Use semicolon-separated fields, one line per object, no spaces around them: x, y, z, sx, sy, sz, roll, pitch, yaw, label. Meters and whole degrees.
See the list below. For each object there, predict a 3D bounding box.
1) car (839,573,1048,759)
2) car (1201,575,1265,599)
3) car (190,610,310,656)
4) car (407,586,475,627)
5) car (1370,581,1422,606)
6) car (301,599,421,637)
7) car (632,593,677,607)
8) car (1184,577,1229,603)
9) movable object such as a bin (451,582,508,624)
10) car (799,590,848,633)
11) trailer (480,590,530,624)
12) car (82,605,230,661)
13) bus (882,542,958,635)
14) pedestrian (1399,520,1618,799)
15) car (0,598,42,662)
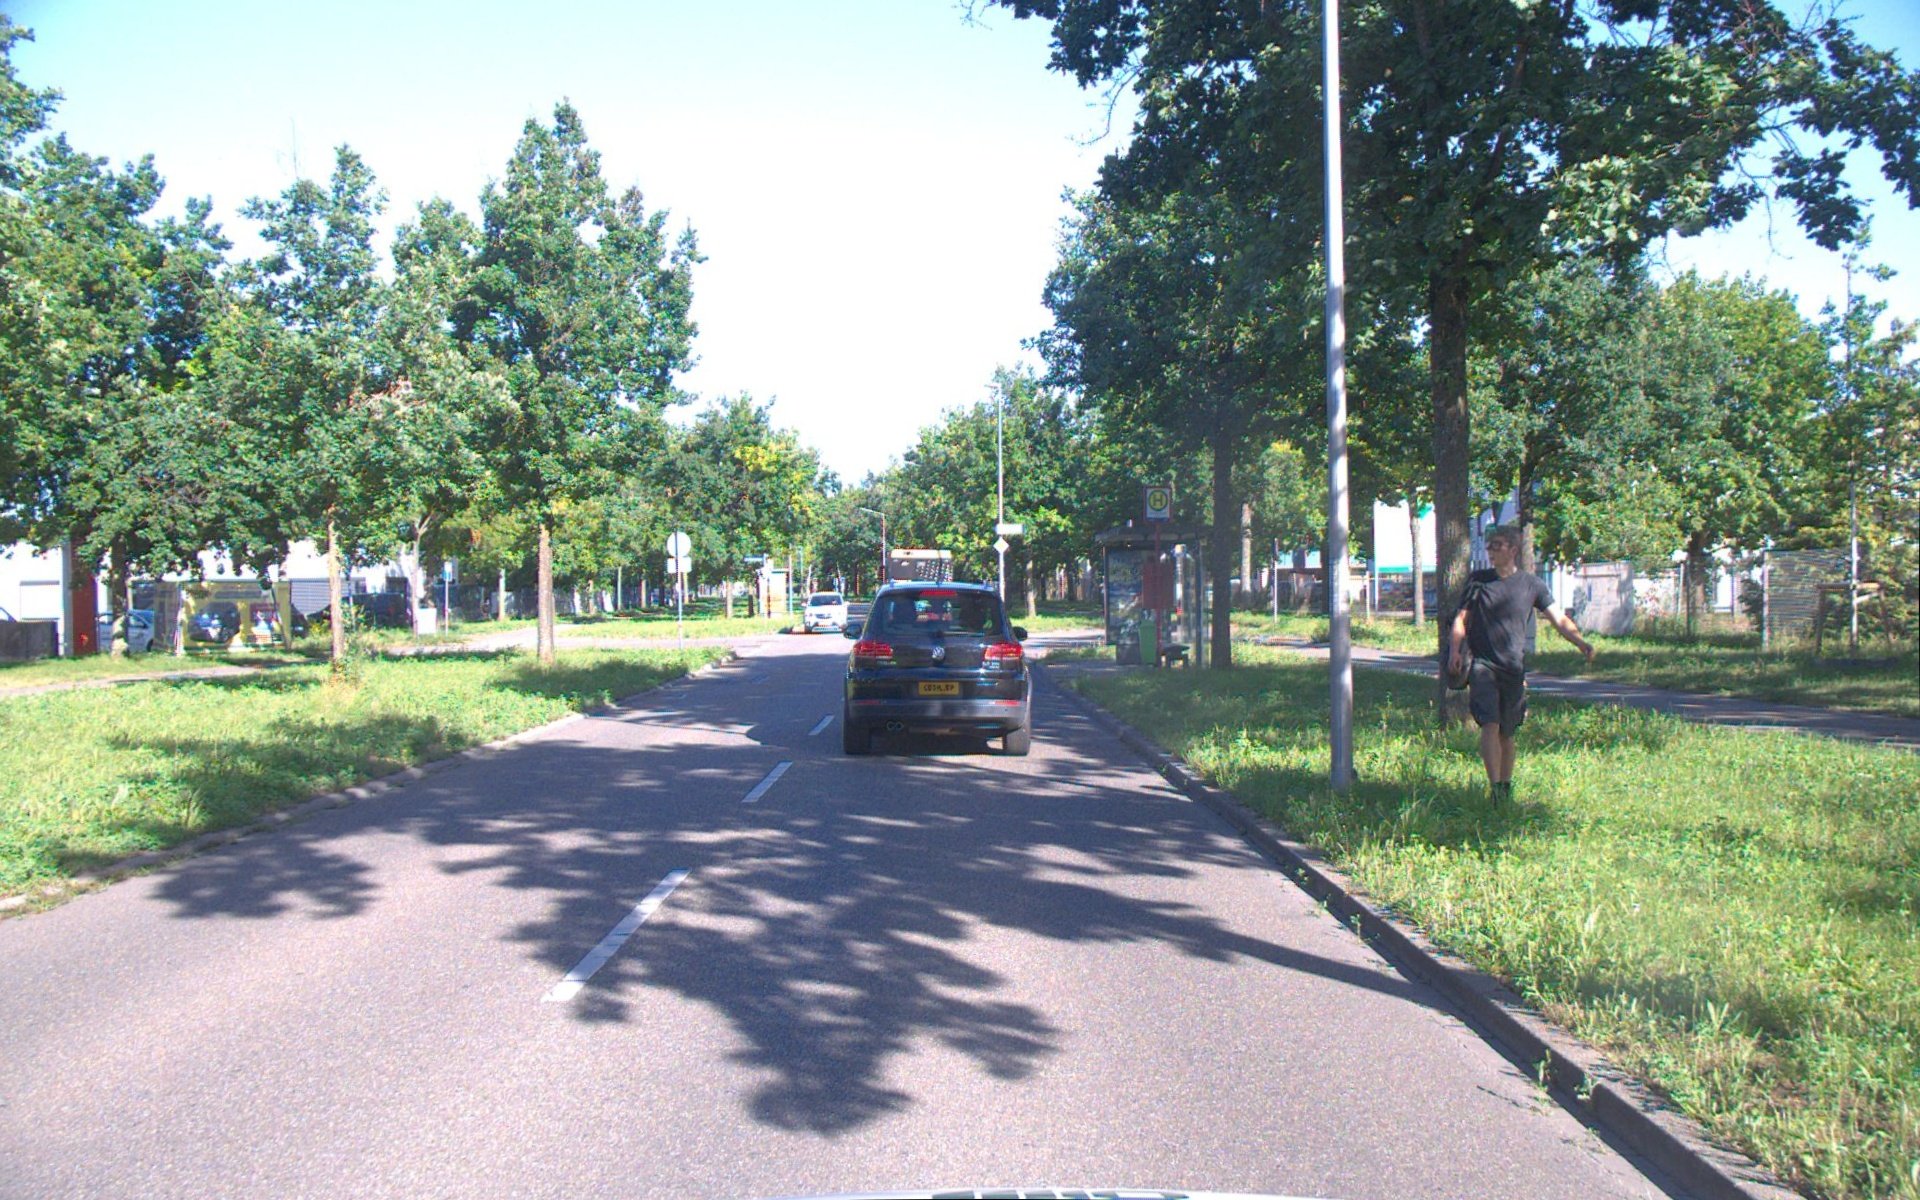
-0.174;0.576;17.276;1.896;1.685;4.426;1;1;-1;car
21.697;-1.049;131.662;4.543;1.774;2.186;-1;0;-10;car
-25.808;1.191;60.172;3.591;1.559;1.824;-1;0;13;car
-27.086;0.307;86.534;1.995;2.023;5.802;-1;0;-4;car
25.442;-0.415;96.694;1.731;1.408;3.763;-1;1;-6;car
-25.571;0.768;70.722;4.411;1.505;1.940;-1;0;-4;car
-30.830;-0.033;166.965;4.112;1.344;1.941;-1;0;1;car
17.535;-0.734;117.808;2.142;1.774;4.636;-1;1;-6;car
-26.933;0.160;92.845;2.060;2.255;4.458;-1;0;-2;movable object such as a bin
-5.108;0.392;62.136;1.709;1.490;4.424;-2;1;-4;car
-27.458;0.399;99.959;2.060;1.948;3.739;-1;0;-2;trailer
-24.702;1.007;50.853;3.662;1.646;1.965;-1;0;13;car
-1.792;-0.503;69.409;2.709;3.517;11.202;-1;1;-4;bus
3.482;0.357;10.604;0.998;1.680;1.099;-1;0;-1;pedestrian
-31.718;0.974;52.119;4.903;1.939;1.943;-1;0;15;car
